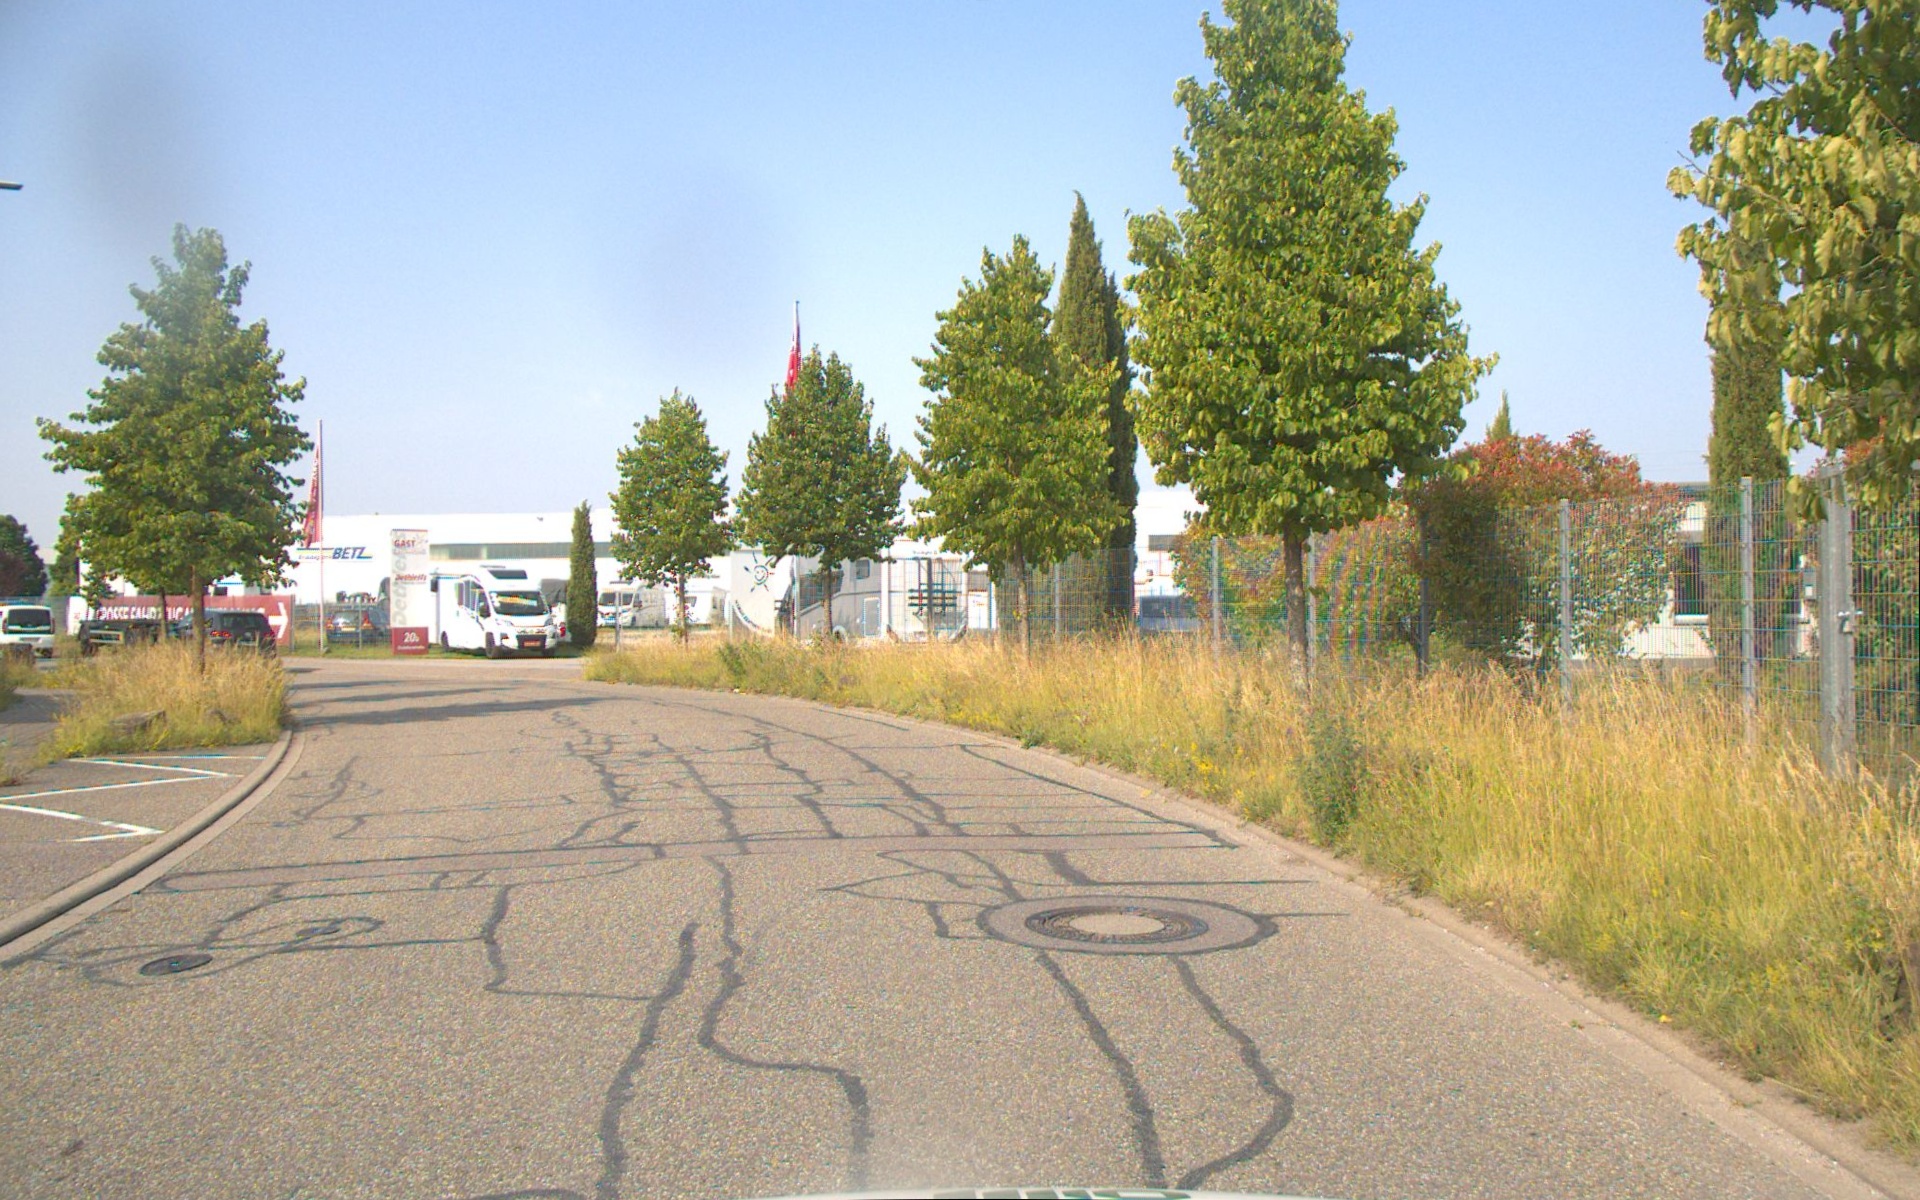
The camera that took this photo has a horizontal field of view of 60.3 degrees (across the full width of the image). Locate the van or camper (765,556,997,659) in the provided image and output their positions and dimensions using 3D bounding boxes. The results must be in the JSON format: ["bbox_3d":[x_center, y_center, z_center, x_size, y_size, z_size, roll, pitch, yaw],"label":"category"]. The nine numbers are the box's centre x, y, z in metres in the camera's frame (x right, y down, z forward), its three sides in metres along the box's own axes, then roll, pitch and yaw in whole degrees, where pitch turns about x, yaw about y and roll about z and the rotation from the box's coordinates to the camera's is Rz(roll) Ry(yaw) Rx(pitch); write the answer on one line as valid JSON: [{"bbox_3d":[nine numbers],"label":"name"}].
[{"bbox_3d":[-2.503,0.220,52.148,7.117,3.085,2.582,-1,0,-5],"label":"van or camper"}]

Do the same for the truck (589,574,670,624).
[{"bbox_3d":[-17.517,-0.071,88.157,2.399,2.514,8.004,0,0,2],"label":"truck"}]

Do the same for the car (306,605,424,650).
[{"bbox_3d":[-21.760,0.993,60.683,2.120,1.502,4.003,-1,0,16],"label":"car"}]

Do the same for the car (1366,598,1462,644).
[{"bbox_3d":[14.549,0.654,53.209,1.677,1.403,3.996,1,0,-5],"label":"car"}]

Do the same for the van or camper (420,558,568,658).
[{"bbox_3d":[-15.034,0.244,53.031,2.313,2.995,6.882,-1,0,-36],"label":"van or camper"}]

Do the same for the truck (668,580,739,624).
[{"bbox_3d":[-13.982,0.086,90.755,2.399,2.305,8.004,0,0,2],"label":"truck"}]

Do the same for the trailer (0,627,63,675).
[{"bbox_3d":[-24.944,1.283,41.942,2.564,1.119,5.115,-1,0,-45],"label":"trailer"}]

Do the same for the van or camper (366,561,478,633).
[{"bbox_3d":[-24.561,-0.155,75.835,2.606,3.138,6.798,0,1,3],"label":"van or camper"}]

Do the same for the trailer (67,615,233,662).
[{"bbox_3d":[-29.278,1.334,59.508,2.612,1.412,9.300,-4,2,-44],"label":"trailer"}]

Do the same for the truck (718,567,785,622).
[{"bbox_3d":[-11.336,-0.312,90.658,2.399,2.876,8.004,0,0,2],"label":"truck"}]

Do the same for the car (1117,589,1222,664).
[{"bbox_3d":[4.903,0.588,39.176,1.688,1.672,3.997,1,0,-4],"label":"car"}]

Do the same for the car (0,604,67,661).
[{"bbox_3d":[-33.968,1.147,59.850,1.982,1.932,4.400,-1,0,-41],"label":"car"}]

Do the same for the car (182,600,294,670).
[{"bbox_3d":[-19.892,0.957,45.470,1.979,1.836,3.947,0,-1,-37],"label":"car"}]

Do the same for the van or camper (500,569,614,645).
[{"bbox_3d":[-14.732,0.206,60.914,2.432,2.603,6.627,0,1,1],"label":"van or camper"}]

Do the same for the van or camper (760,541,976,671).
[{"bbox_3d":[-2.417,0.150,40.538,2.324,2.898,7.269,0,0,-29],"label":"van or camper"}]

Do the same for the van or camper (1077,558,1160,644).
[{"bbox_3d":[5.662,0.080,59.927,2.273,2.914,6.608,-1,-1,-1],"label":"van or camper"}]
